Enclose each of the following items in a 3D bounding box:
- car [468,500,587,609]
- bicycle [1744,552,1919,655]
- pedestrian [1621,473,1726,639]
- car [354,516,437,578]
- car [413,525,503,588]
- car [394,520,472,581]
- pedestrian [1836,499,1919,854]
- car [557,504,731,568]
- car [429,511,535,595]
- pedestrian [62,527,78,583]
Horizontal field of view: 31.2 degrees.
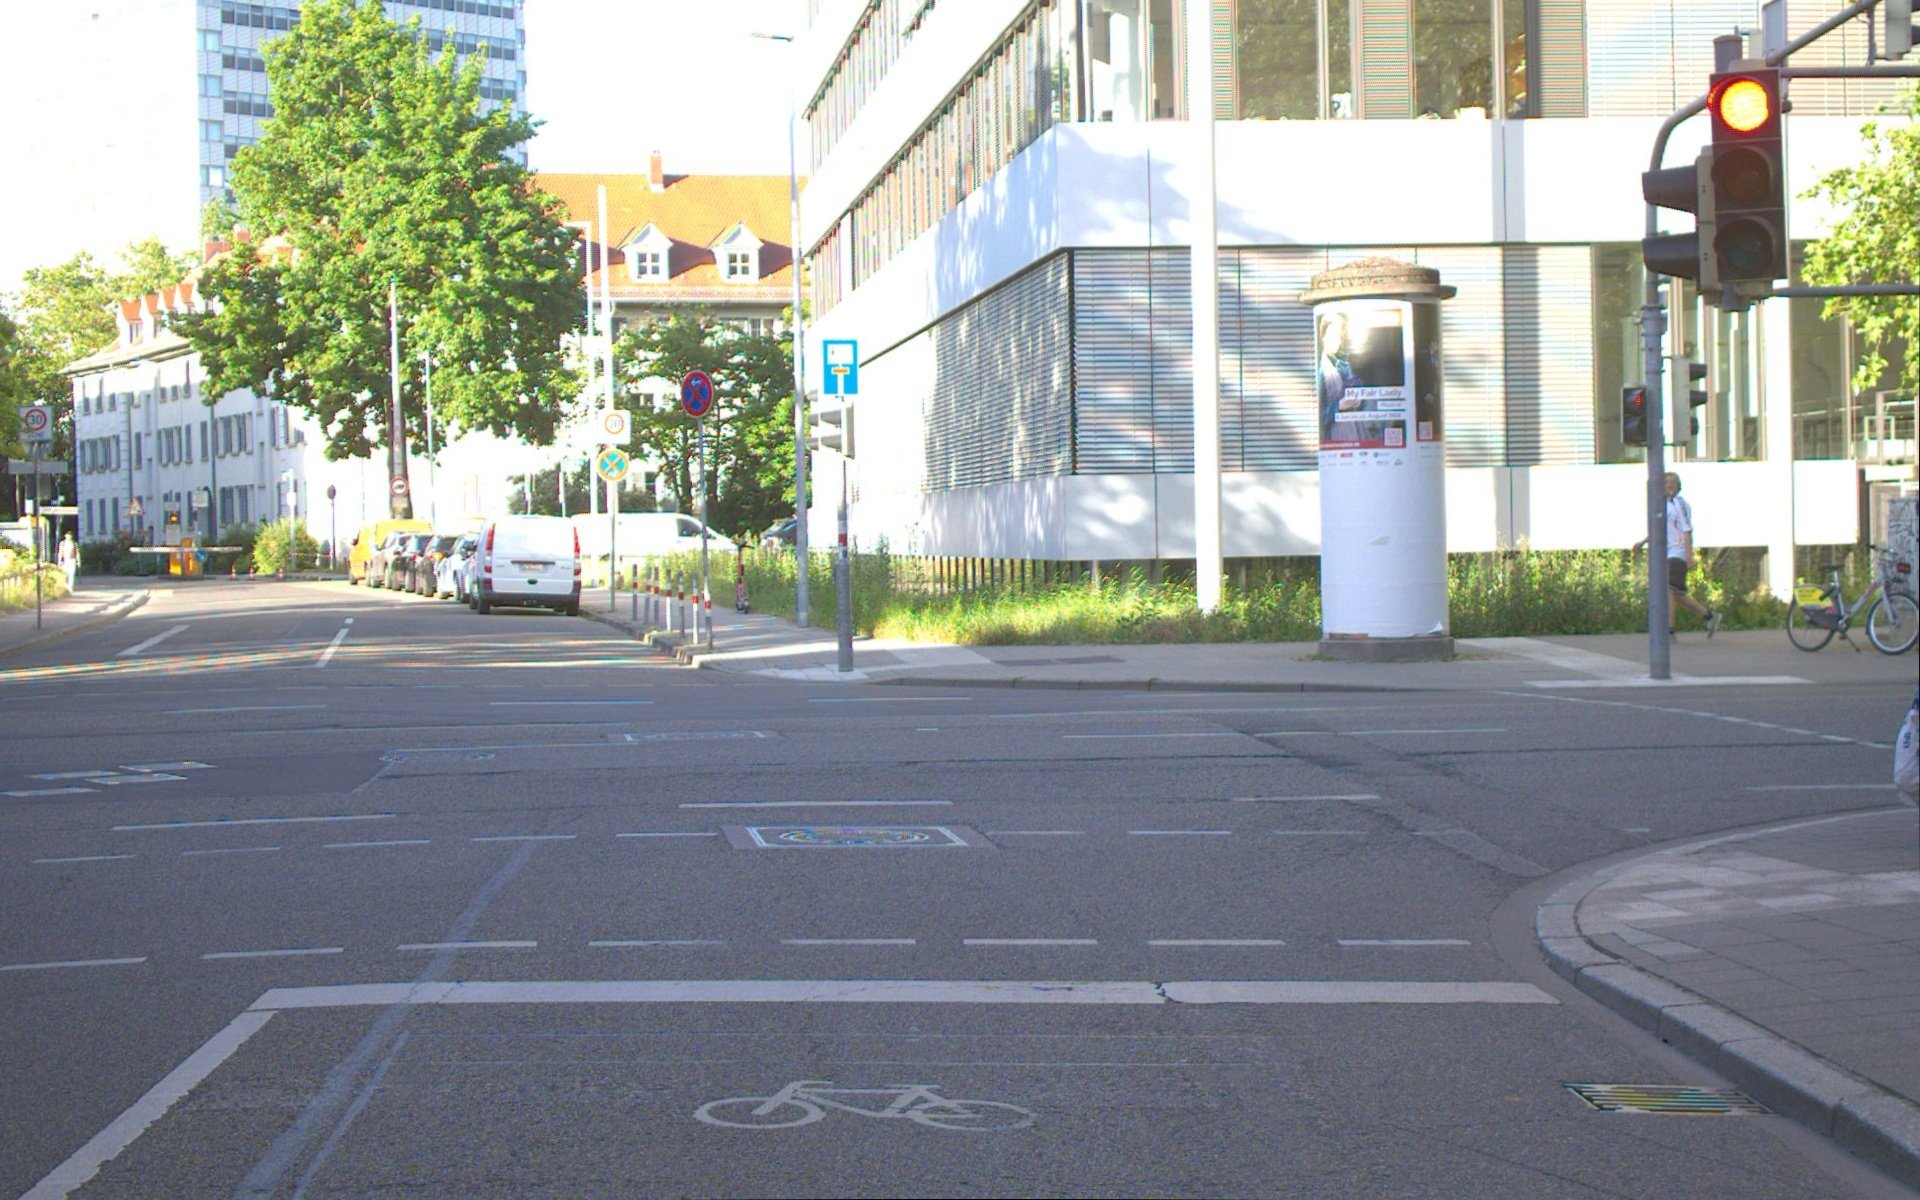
[{"bbox_3d":[-8.165,-0.873,64.635,2.066,1.956,4.239,-1,1,-9],"label":"car"},{"bbox_3d":[9.181,0.031,36.109,0.463,1.045,1.914,-2,2,-42],"label":"bicycle"},{"bbox_3d":[7.928,-0.484,38.203,1.038,1.824,0.538,0,1,23],"label":"pedestrian"},{"bbox_3d":[-15.732,-1.491,95.651,2.100,1.652,4.477,-1,1,-11],"label":"car"},{"bbox_3d":[-11.913,-1.038,81.434,1.703,1.419,4.239,-1,1,-14],"label":"car"},{"bbox_3d":[-13.185,-1.245,85.829,1.703,1.459,4.239,-1,1,-11],"label":"car"},{"bbox_3d":[4.598,0.317,15.467,0.956,1.568,0.749,-3,1,38],"label":"pedestrian"},{"bbox_3d":[-9.458,-1.890,102.776,4.880,1.865,2.001,0,0,-16],"label":"car"},{"bbox_3d":[-10.667,-1.060,76.553,1.946,1.789,4.239,-1,1,-13],"label":"car"},{"bbox_3d":[-24.737,-1.254,95.574,0.380,1.529,0.446,-1,1,-12],"label":"pedestrian"}]
